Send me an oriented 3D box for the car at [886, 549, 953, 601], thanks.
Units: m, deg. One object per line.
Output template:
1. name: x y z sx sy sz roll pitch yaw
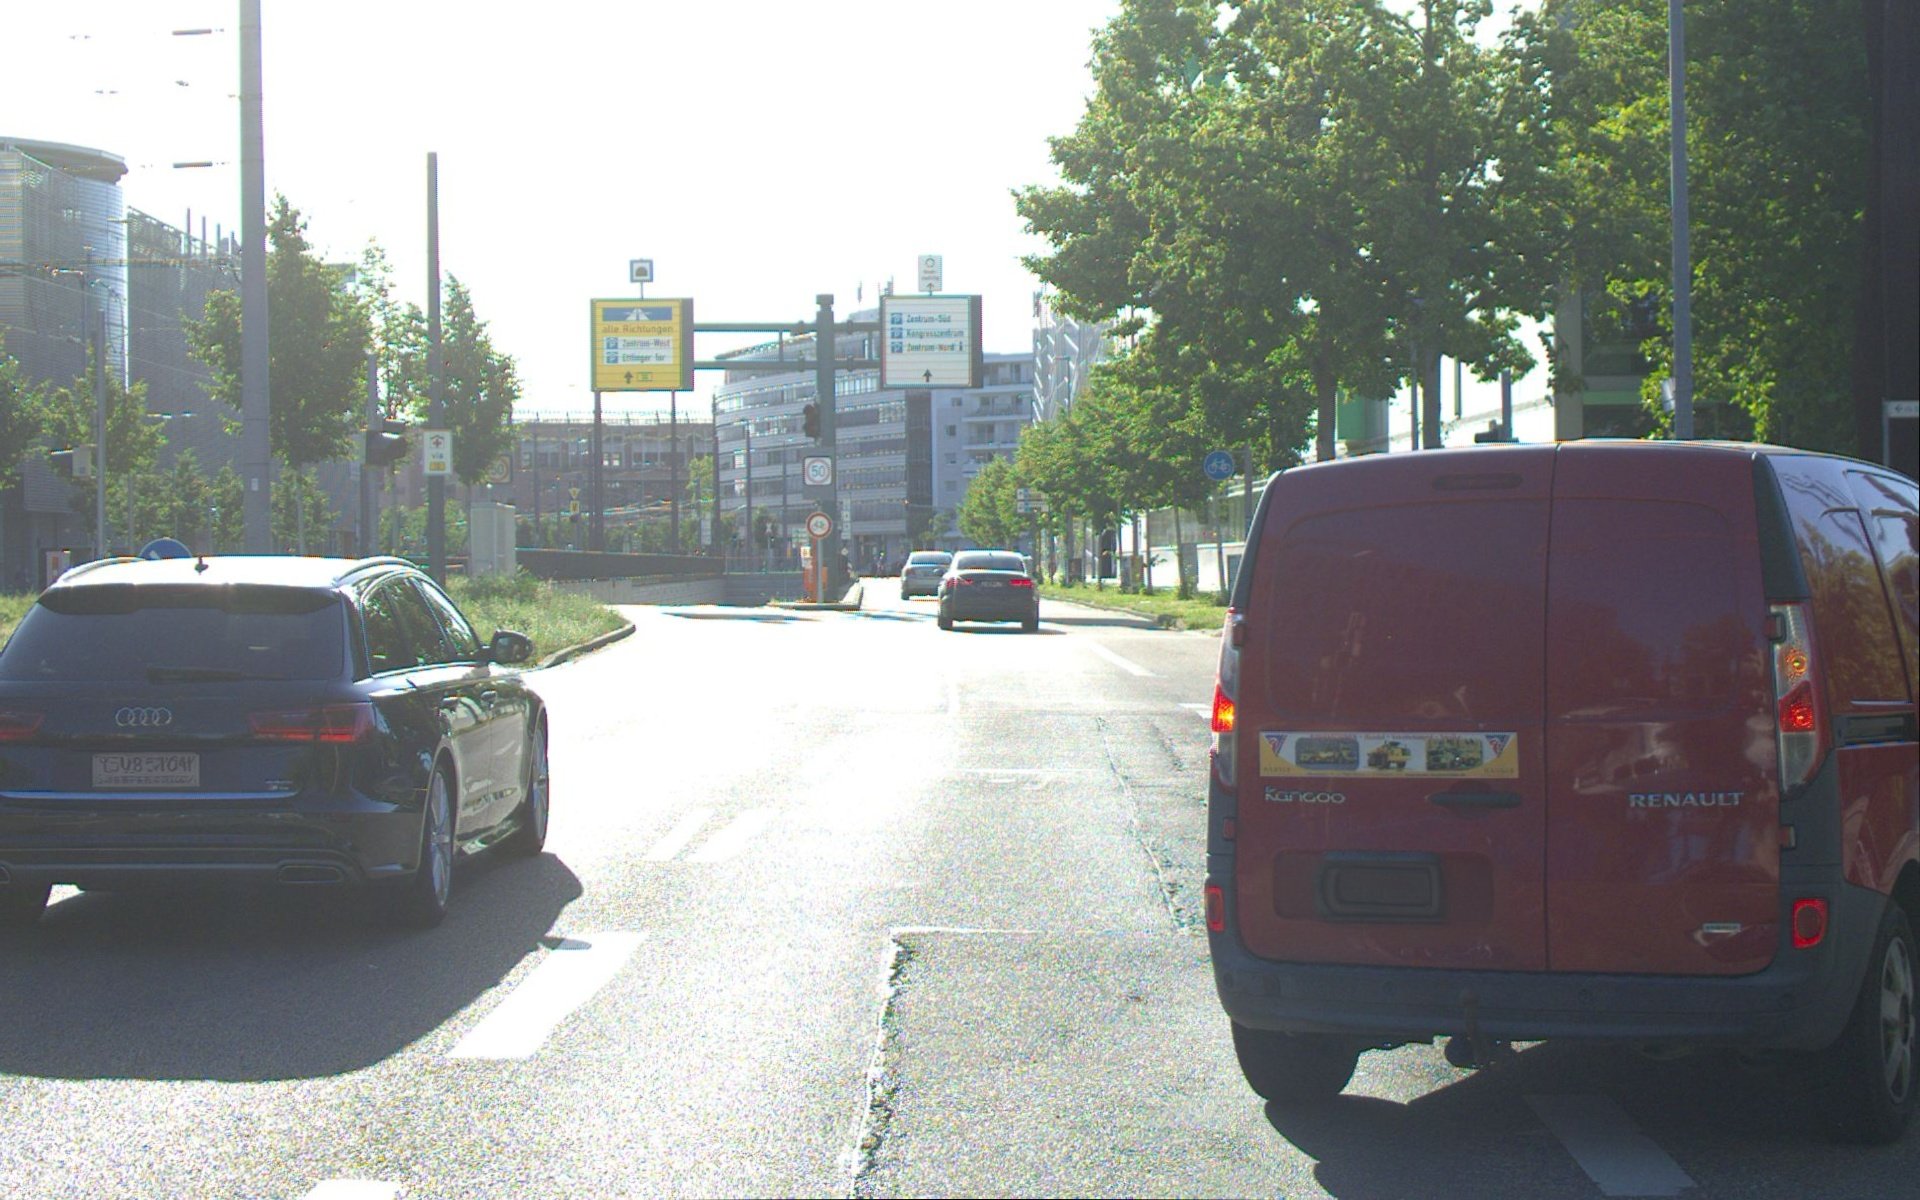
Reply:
1. car: -1.218 -0.776 103.941 1.993 1.460 4.000 1 1 -1

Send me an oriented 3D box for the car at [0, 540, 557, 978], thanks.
1. car: -2.911 0.530 14.633 1.812 1.422 4.690 1 2 0

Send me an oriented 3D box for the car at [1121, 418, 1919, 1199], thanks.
1. car: 2.154 0.466 10.137 1.851 1.808 4.108 2 1 26

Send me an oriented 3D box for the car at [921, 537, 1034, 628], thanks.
1. car: 0.280 -0.332 61.195 1.852 1.541 4.000 1 1 -2
